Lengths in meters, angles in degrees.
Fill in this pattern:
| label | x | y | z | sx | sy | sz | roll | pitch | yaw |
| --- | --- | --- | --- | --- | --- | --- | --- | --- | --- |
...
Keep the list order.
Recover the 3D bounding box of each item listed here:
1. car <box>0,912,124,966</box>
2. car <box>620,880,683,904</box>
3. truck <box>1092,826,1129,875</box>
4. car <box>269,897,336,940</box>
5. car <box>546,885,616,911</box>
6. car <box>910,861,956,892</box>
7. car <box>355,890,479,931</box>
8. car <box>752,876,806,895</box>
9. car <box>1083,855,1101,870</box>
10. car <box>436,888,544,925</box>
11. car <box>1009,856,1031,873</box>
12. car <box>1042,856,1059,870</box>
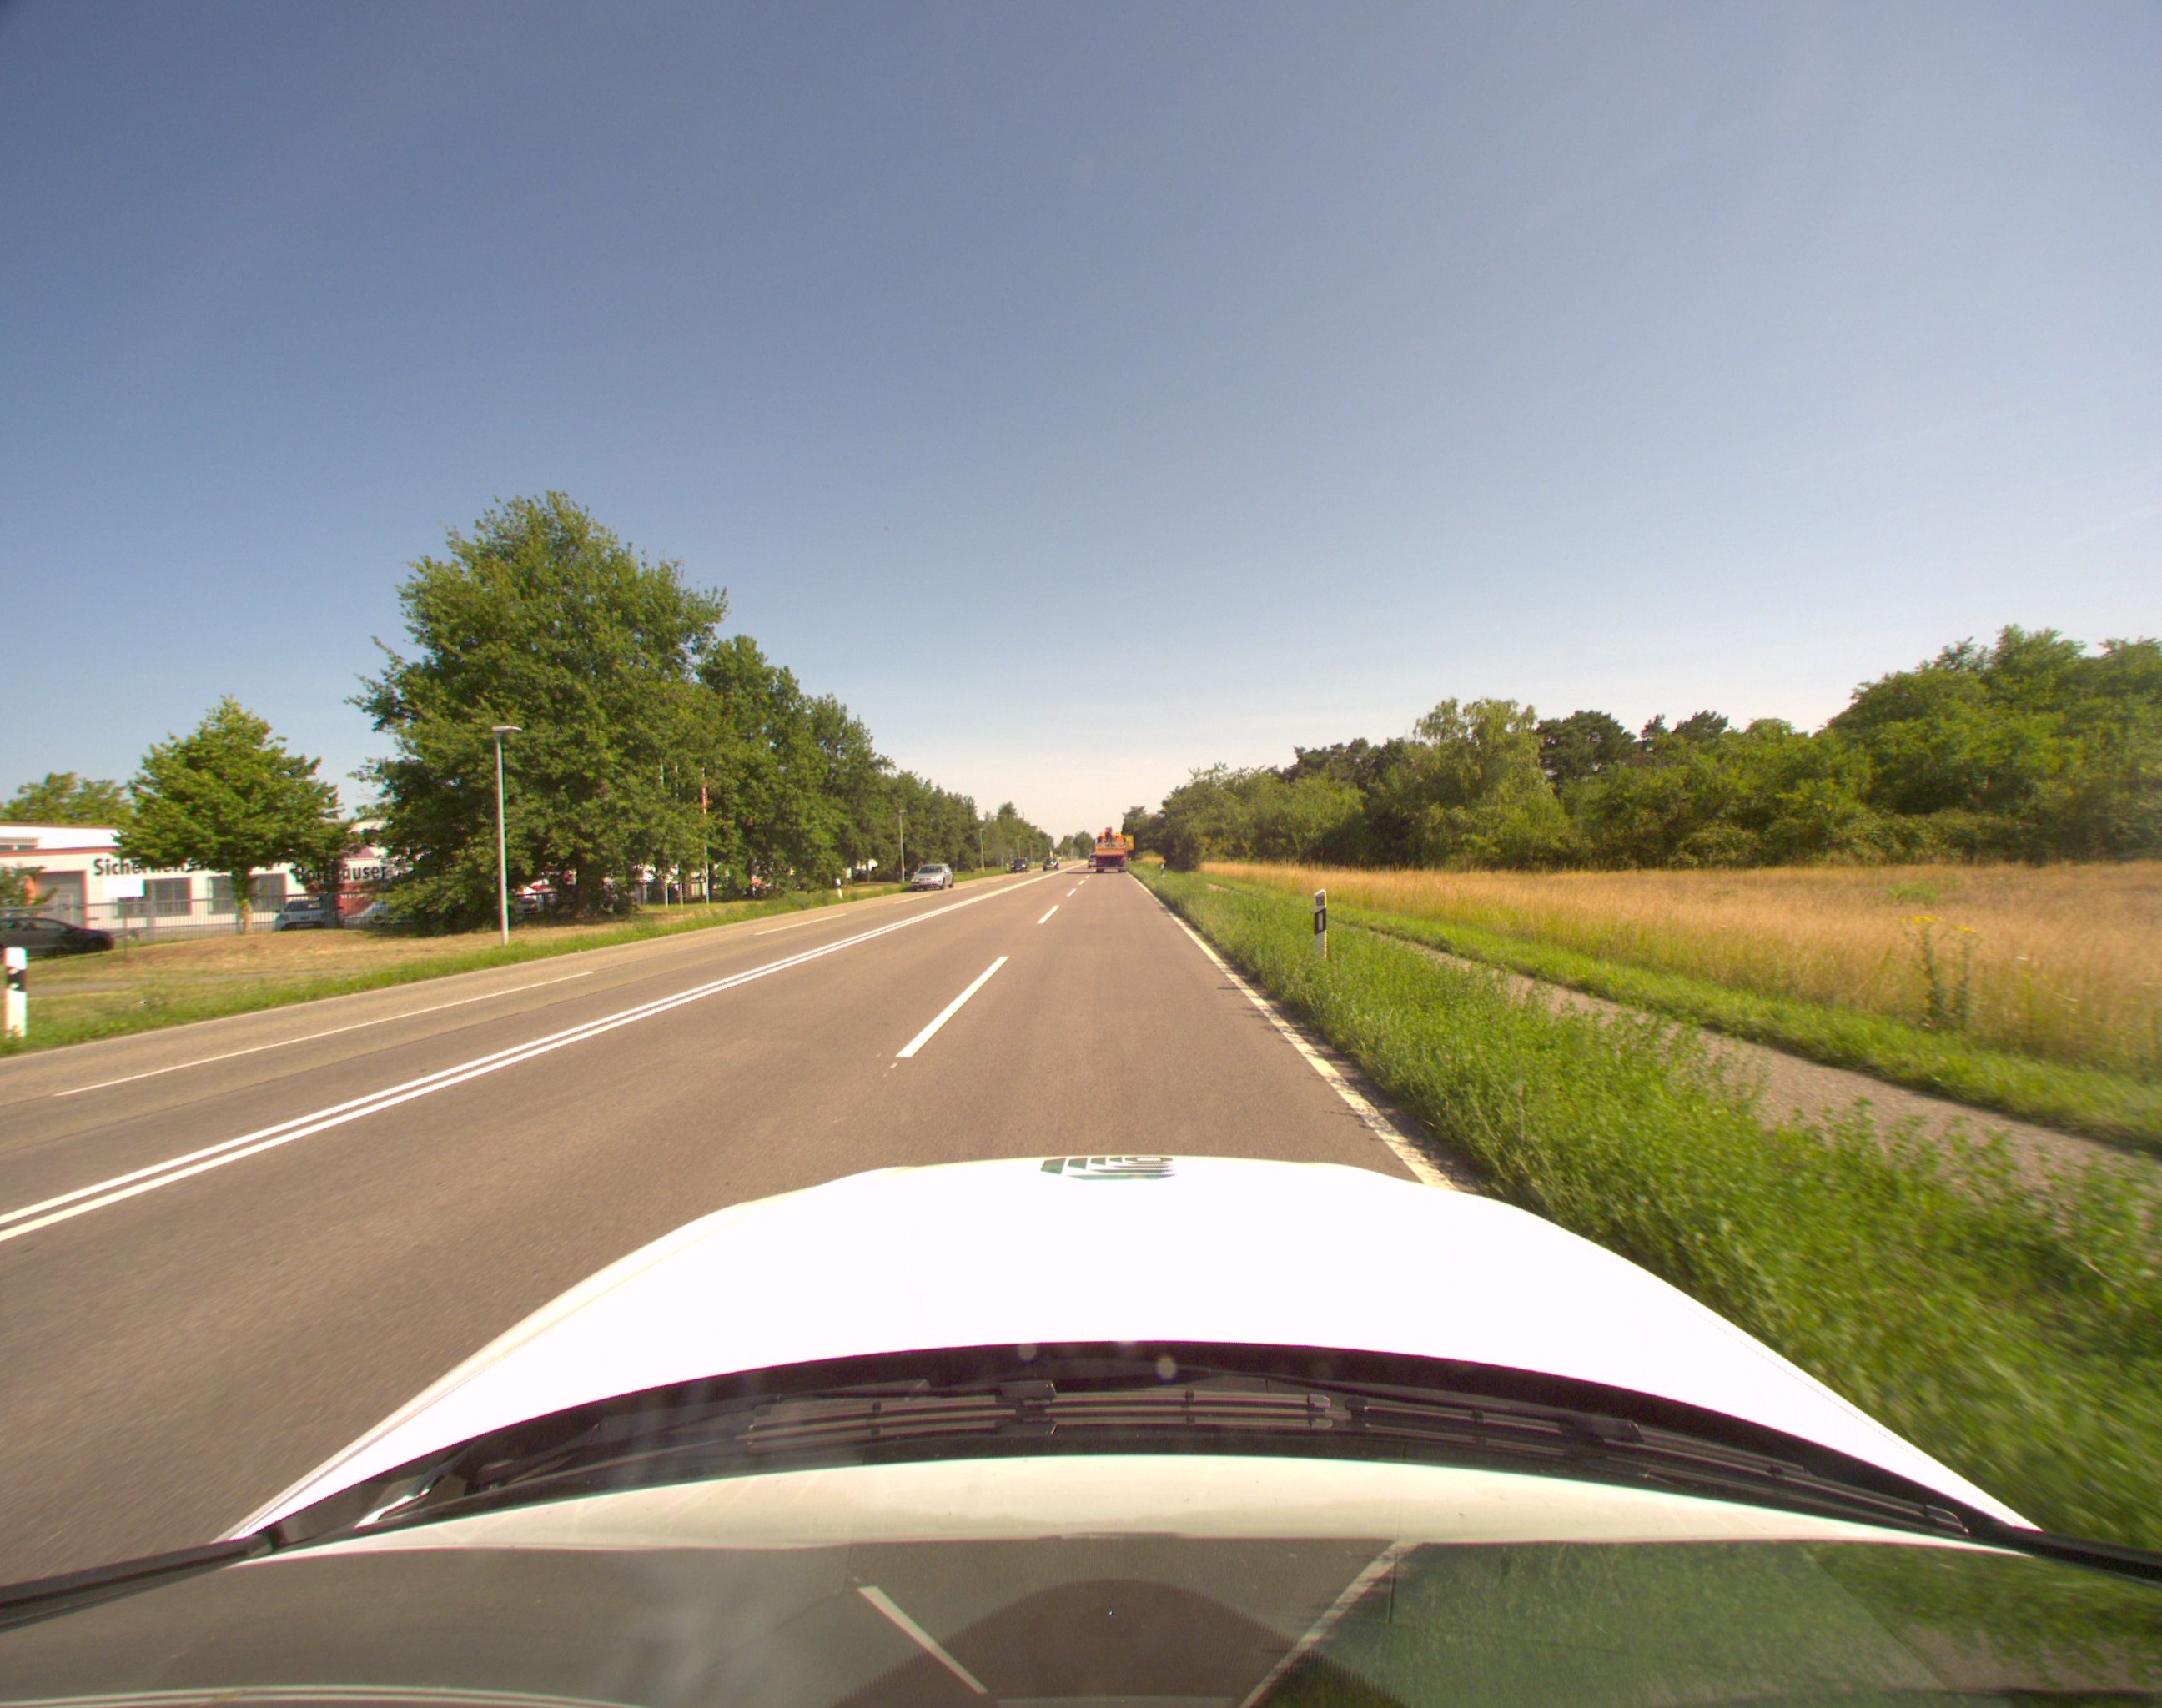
| label | x | y | z | sx | sy | sz | roll | pitch | yaw |
| --- | --- | --- | --- | --- | --- | --- | --- | --- | --- |
| car | -32.820 | 2.677 | 25.319 | 1.630 | 1.390 | 3.724 | -3 | 0 | 1 |
| car | -29.392 | 2.558 | 55.926 | 1.782 | 1.349 | 4.661 | -4 | 0 | -1 |
| truck | 2.424 | -0.275 | 69.285 | 2.863 | 3.880 | 7.398 | -1 | 0 | 0 |
| car | -31.137 | 2.537 | 32.648 | 1.750 | 1.500 | 3.952 | -3 | 0 | -42 |
| car | -33.347 | 2.911 | 54.486 | 1.782 | 1.349 | 4.661 | -4 | 0 | -1 |
| car | -8.079 | 1.206 | 44.843 | 1.592 | 1.442 | 4.001 | -5 | 0 | 2 |
| car | -29.144 | 2.463 | 35.814 | 3.972 | 1.500 | 1.758 | -3 | 0 | 1 |
| car | -26.705 | 2.823 | 72.193 | 3.971 | 1.306 | 1.864 | -4 | 0 | 2 |
| car | 1.206 | 1.005 | 93.568 | 1.987 | 1.583 | 3.999 | -2 | 0 | 0 |
| car | -28.910 | 2.562 | 39.904 | 3.972 | 1.500 | 1.758 | -3 | 0 | 1 |
| car | -6.691 | 1.090 | 89.561 | 1.819 | 1.671 | 4.390 | -5 | 0 | 1 |
| car | -3.352 | 0.958 | 91.039 | 1.511 | 1.450 | 3.777 | -5 | 0 | 2 |
